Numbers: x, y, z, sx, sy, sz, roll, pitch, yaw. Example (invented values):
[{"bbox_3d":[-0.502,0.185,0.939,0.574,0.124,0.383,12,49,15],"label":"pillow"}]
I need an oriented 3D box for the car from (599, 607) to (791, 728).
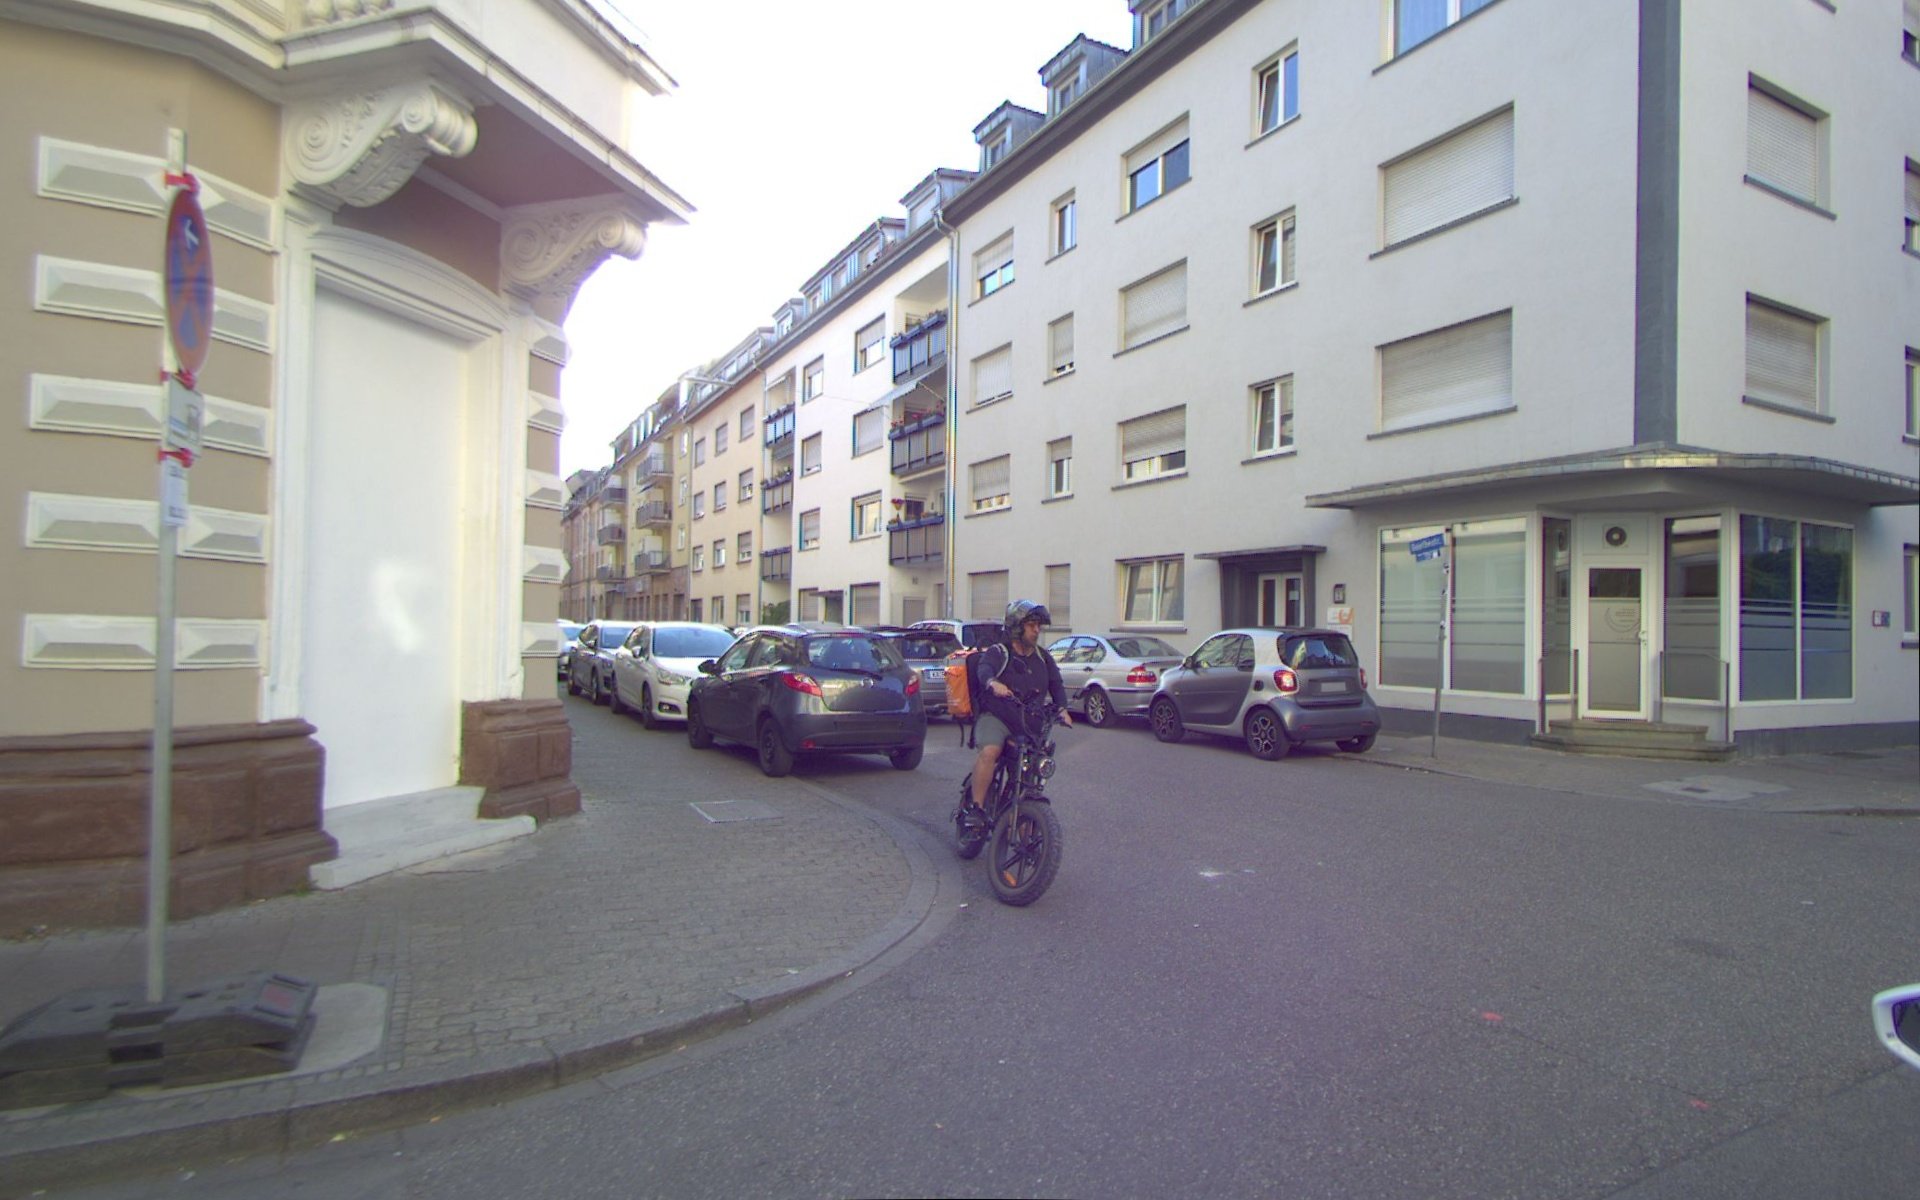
[{"bbox_3d":[-4.176,0.917,15.359,1.814,1.581,4.060,2,-1,-30],"label":"car"}]

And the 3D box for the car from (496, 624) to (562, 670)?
[{"bbox_3d":[-16.350,1.734,38.044,1.814,1.581,4.060,2,-1,-30],"label":"car"}]

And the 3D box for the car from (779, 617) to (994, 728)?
[{"bbox_3d":[-1.310,1.058,16.092,1.975,1.505,3.971,2,-1,-28],"label":"car"}]

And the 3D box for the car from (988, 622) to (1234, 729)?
[{"bbox_3d":[2.341,1.147,16.711,1.943,1.472,4.233,2,-1,-28],"label":"car"}]

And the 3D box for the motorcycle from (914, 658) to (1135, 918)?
[{"bbox_3d":[0.330,1.062,6.309,0.794,1.266,1.690,0,1,-19],"label":"motorcycle"}]

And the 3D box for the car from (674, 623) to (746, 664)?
[{"bbox_3d":[-9.465,1.610,37.818,1.611,1.425,3.961,2,-1,-30],"label":"car"}]

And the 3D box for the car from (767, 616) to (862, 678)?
[{"bbox_3d":[-4.351,1.344,29.653,1.638,1.666,3.580,2,-1,-29],"label":"car"}]

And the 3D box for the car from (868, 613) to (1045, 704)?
[{"bbox_3d":[-0.184,1.143,20.921,1.976,1.675,4.062,2,-1,-29],"label":"car"}]

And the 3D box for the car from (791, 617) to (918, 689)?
[{"bbox_3d":[-2.709,1.245,24.886,1.608,1.581,4.060,2,-1,-30],"label":"car"}]

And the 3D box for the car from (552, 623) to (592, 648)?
[{"bbox_3d":[-25.899,2.355,66.980,1.814,1.581,4.060,2,-1,-30],"label":"car"}]

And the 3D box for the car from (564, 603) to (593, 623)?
[{"bbox_3d":[-33.515,1.159,88.229,1.973,1.646,4.556,2,-1,-25],"label":"car"}]

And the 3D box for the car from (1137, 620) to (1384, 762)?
[{"bbox_3d":[3.783,1.079,13.002,1.627,1.586,2.745,2,-1,-27],"label":"car"}]

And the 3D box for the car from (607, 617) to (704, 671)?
[{"bbox_3d":[-9.496,1.313,31.069,1.975,1.505,4.629,2,-1,-28],"label":"car"}]

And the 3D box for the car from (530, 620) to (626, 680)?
[{"bbox_3d":[-10.117,1.274,26.473,1.814,1.421,3.566,2,-1,-30],"label":"car"}]

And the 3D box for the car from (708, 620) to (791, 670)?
[{"bbox_3d":[-7.161,1.483,33.904,1.571,1.507,3.951,2,-1,-30],"label":"car"}]

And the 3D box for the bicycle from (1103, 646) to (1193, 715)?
[{"bbox_3d":[3.572,1.503,19.263,0.483,1.152,2.042,2,0,-29],"label":"bicycle"}]

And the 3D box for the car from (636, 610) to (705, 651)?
[{"bbox_3d":[-12.100,1.250,41.800,1.814,1.581,4.060,2,-1,-30],"label":"car"}]

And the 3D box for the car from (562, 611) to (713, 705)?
[{"bbox_3d":[-6.304,1.031,19.321,1.985,1.581,4.061,2,-1,-29],"label":"car"}]

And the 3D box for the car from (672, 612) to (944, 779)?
[{"bbox_3d":[-1.825,0.919,11.138,1.669,1.499,3.558,2,-1,-33],"label":"car"}]

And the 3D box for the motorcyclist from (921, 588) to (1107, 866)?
[{"bbox_3d":[0.310,0.719,6.335,0.861,1.589,0.995,0,1,-20],"label":"motorcyclist"}]
